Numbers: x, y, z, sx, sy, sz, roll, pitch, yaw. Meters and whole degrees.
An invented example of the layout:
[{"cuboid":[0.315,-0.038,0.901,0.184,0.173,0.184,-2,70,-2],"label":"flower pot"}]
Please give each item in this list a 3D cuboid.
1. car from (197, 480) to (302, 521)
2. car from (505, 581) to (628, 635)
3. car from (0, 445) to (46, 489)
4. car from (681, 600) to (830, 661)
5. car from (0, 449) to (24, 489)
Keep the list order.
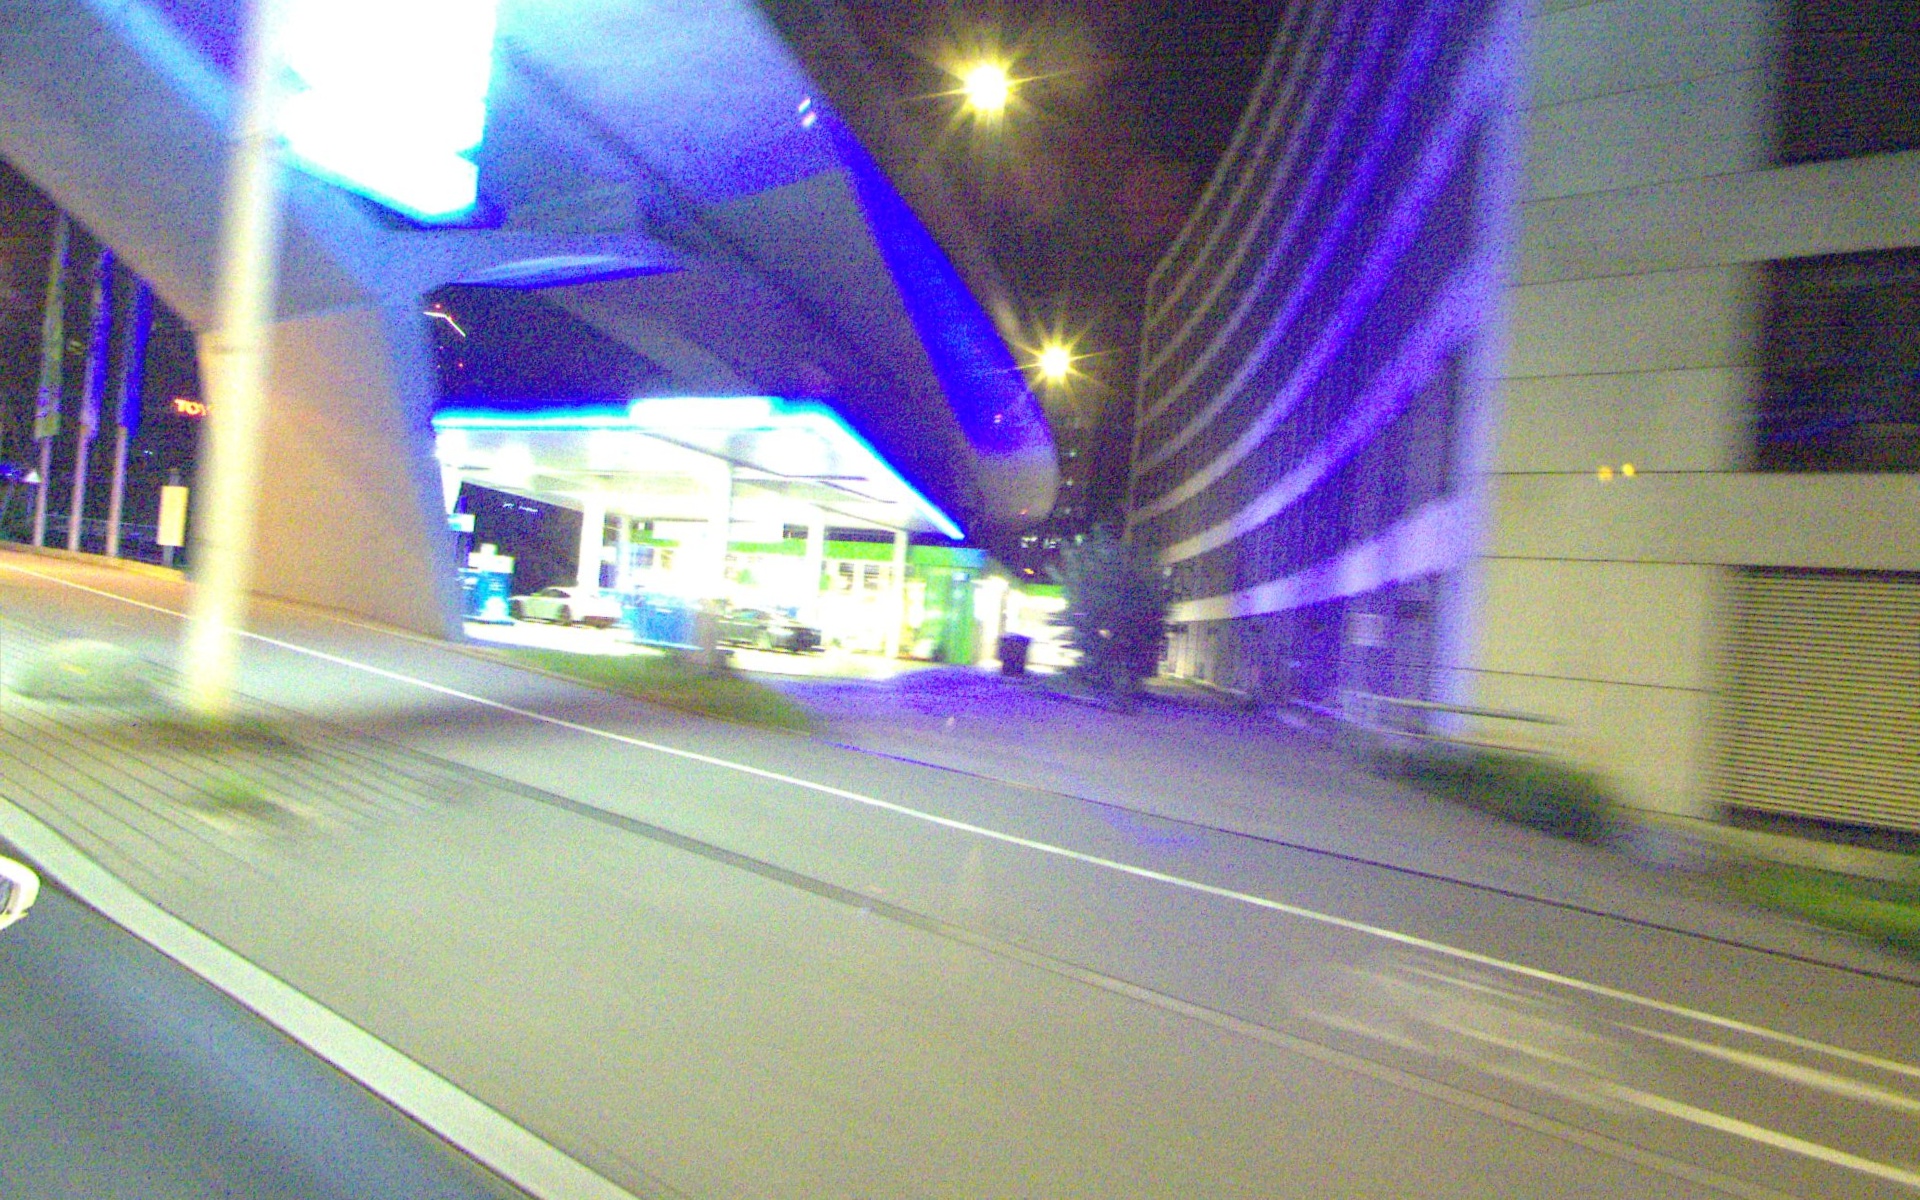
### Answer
[{"cuboid":[-32.973,-4.589,46.748,1.611,1.490,3.637,6,2,35],"label":"car"},{"cuboid":[-13.850,0.273,35.401,3.997,1.374,1.658,6,-2,26],"label":"car"},{"cuboid":[-39.694,-5.545,40.339,1.793,1.541,4.121,5,0,33],"label":"car"},{"cuboid":[-6.459,0.963,31.703,4.260,1.379,1.931,6,-1,28],"label":"car"},{"cuboid":[-41.612,-5.662,41.565,1.710,1.591,3.988,6,0,33],"label":"car"}]
